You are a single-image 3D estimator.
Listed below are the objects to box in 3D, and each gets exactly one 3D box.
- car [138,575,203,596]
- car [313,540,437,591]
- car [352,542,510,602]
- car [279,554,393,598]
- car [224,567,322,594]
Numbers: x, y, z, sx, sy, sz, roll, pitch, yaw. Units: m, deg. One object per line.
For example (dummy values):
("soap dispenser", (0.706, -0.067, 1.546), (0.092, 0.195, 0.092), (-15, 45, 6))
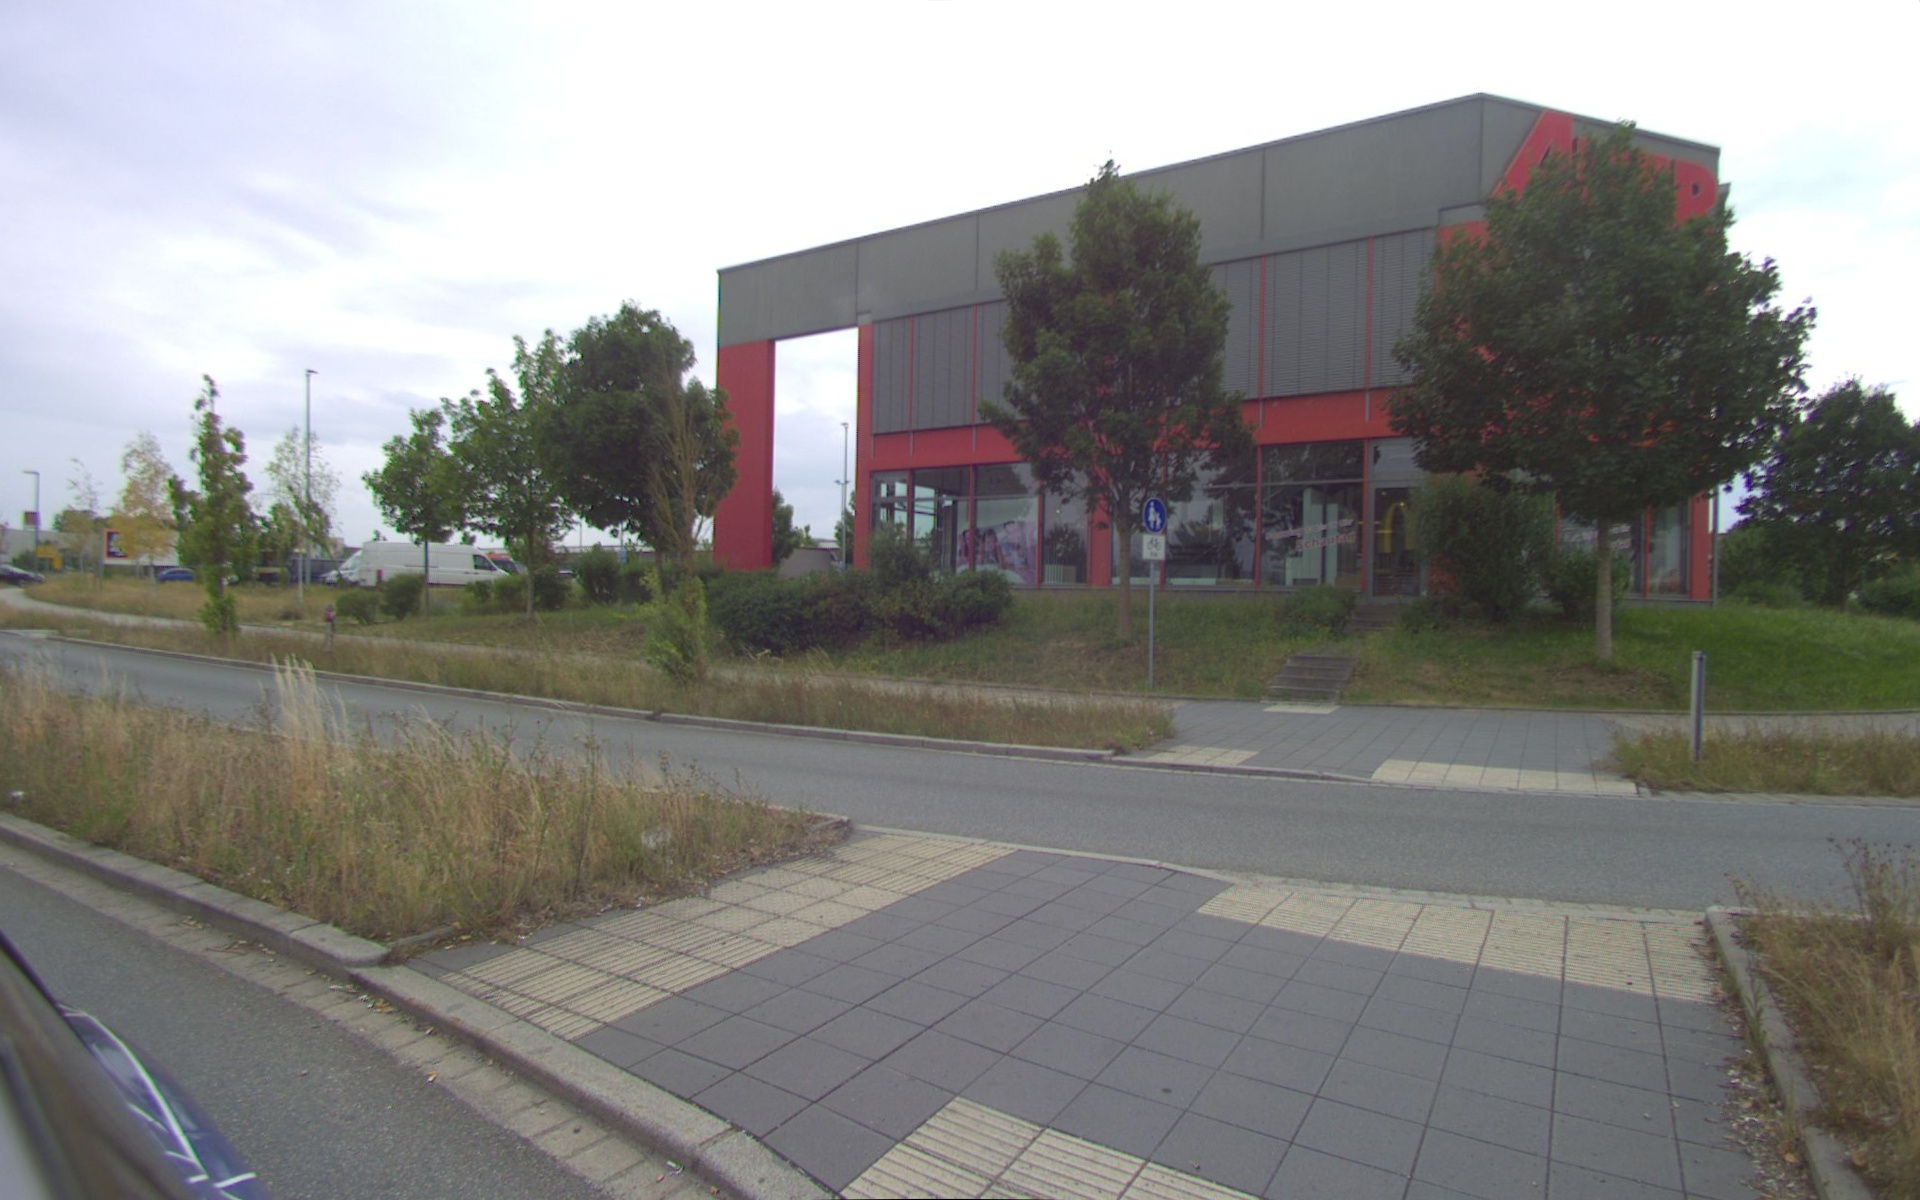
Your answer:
("car", (-62.124, -1.134, 79.648), (3.938, 1.524, 1.737), (1, 0, -42))
("car", (-28.983, -1.711, 50.314), (2.058, 2.390, 5.002), (2, 2, 32))
("car", (-24.759, -1.304, 47.648), (2.060, 2.643, 6.343), (2, 2, 36))
("car", (-34.456, -1.275, 56.002), (2.063, 2.240, 4.991), (1, 0, 39))
("car", (-45.339, -1.275, 66.862), (2.064, 1.669, 4.987), (1, 0, 42))
